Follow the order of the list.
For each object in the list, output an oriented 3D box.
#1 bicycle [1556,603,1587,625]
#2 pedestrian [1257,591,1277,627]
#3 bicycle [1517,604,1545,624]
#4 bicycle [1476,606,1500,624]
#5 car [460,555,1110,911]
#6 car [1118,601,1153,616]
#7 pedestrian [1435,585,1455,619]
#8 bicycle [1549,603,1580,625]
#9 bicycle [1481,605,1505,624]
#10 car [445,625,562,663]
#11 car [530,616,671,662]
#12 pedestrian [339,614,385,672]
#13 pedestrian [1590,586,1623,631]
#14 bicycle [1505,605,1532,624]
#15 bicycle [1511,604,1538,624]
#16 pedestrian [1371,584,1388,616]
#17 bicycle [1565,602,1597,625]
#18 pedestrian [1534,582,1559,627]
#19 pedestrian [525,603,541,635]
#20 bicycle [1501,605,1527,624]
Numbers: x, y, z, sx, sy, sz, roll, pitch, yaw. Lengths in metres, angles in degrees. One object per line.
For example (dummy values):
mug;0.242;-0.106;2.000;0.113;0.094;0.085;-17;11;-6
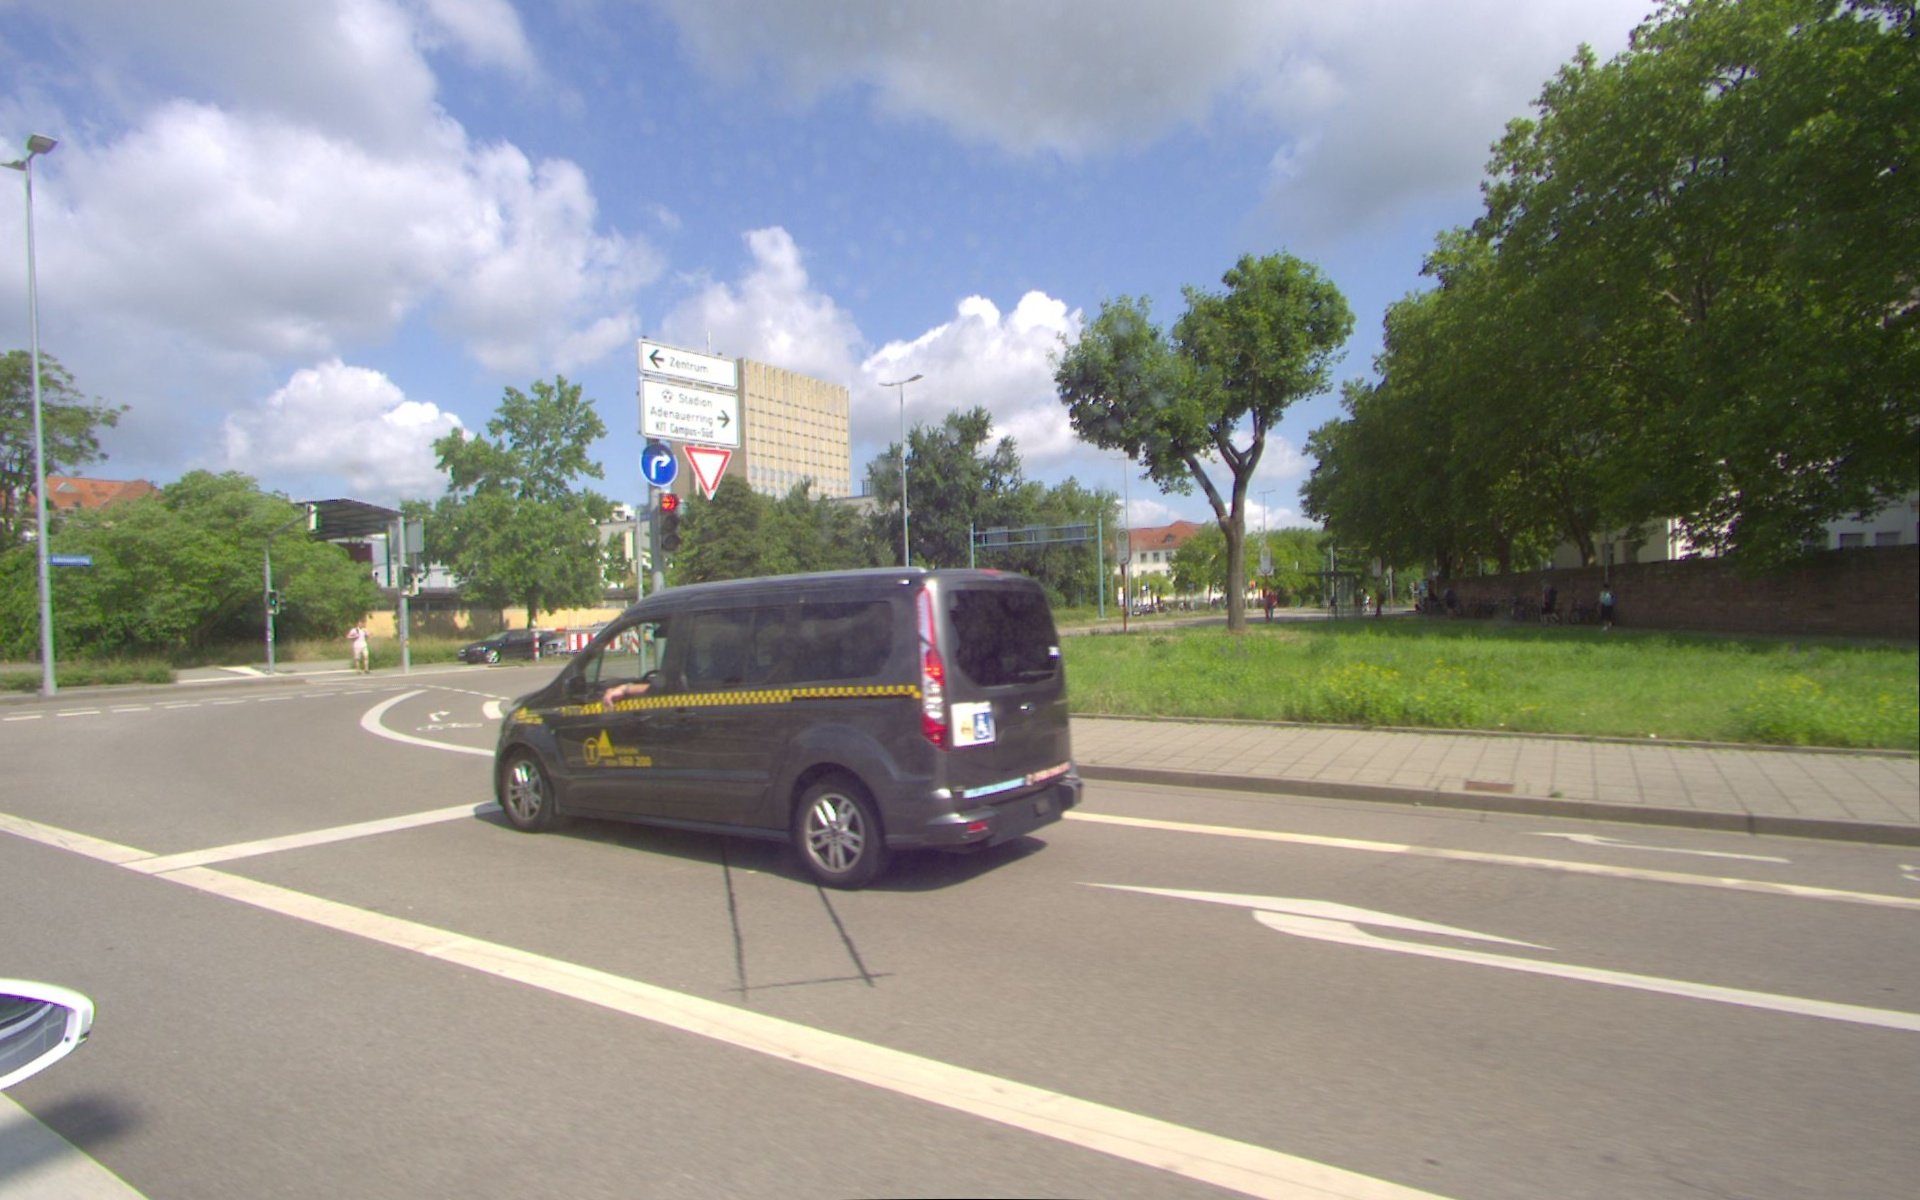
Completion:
bicycle;24.378;0.565;39.934;0.955;0.860;0.482;-1;1;11
pedestrian;15.511;0.441;50.543;0.738;1.803;0.961;-2;0;30
bicycle;25.273;0.599;44.350;0.955;0.860;0.482;-1;1;11
bicycle;26.191;0.729;49.656;0.955;0.860;0.482;-1;1;11
car;-1.422;0.731;7.158;4.608;1.808;1.844;-1;-1;34
car;16.714;0.817;95.301;1.774;1.289;3.973;-1;0;36
pedestrian;25.877;0.112;53.422;0.874;1.804;0.766;-1;1;32
bicycle;24.482;0.567;40.563;0.955;0.860;0.482;-1;1;11
bicycle;26.115;0.708;49.081;0.955;0.860;0.482;-1;1;11
car;-19.372;1.849;42.668;1.972;1.395;4.136;-1;0;34
car;-13.719;1.459;38.500;2.037;1.460;4.747;-4;-2;36
pedestrian;-20.443;1.463;34.242;1.161;1.881;0.697;-3;0;22
pedestrian;23.007;0.288;35.632;0.712;1.554;0.724;-2;0;11
bicycle;25.481;0.649;45.664;0.955;0.860;0.482;-1;1;11
bicycle;25.381;0.624;45.020;0.955;0.860;0.482;-1;1;11
pedestrian;24.184;0.020;57.698;0.739;1.803;0.766;-2;0;32
bicycle;24.329;0.519;39.250;0.955;0.860;0.482;-1;1;11
pedestrian;23.345;0.179;39.867;0.651;1.746;0.742;-1;1;13
pedestrian;-22.105;0.991;51.811;0.534;1.628;0.522;-1;-1;28
bicycle;25.562;0.670;46.214;0.955;0.860;0.482;-1;1;11
